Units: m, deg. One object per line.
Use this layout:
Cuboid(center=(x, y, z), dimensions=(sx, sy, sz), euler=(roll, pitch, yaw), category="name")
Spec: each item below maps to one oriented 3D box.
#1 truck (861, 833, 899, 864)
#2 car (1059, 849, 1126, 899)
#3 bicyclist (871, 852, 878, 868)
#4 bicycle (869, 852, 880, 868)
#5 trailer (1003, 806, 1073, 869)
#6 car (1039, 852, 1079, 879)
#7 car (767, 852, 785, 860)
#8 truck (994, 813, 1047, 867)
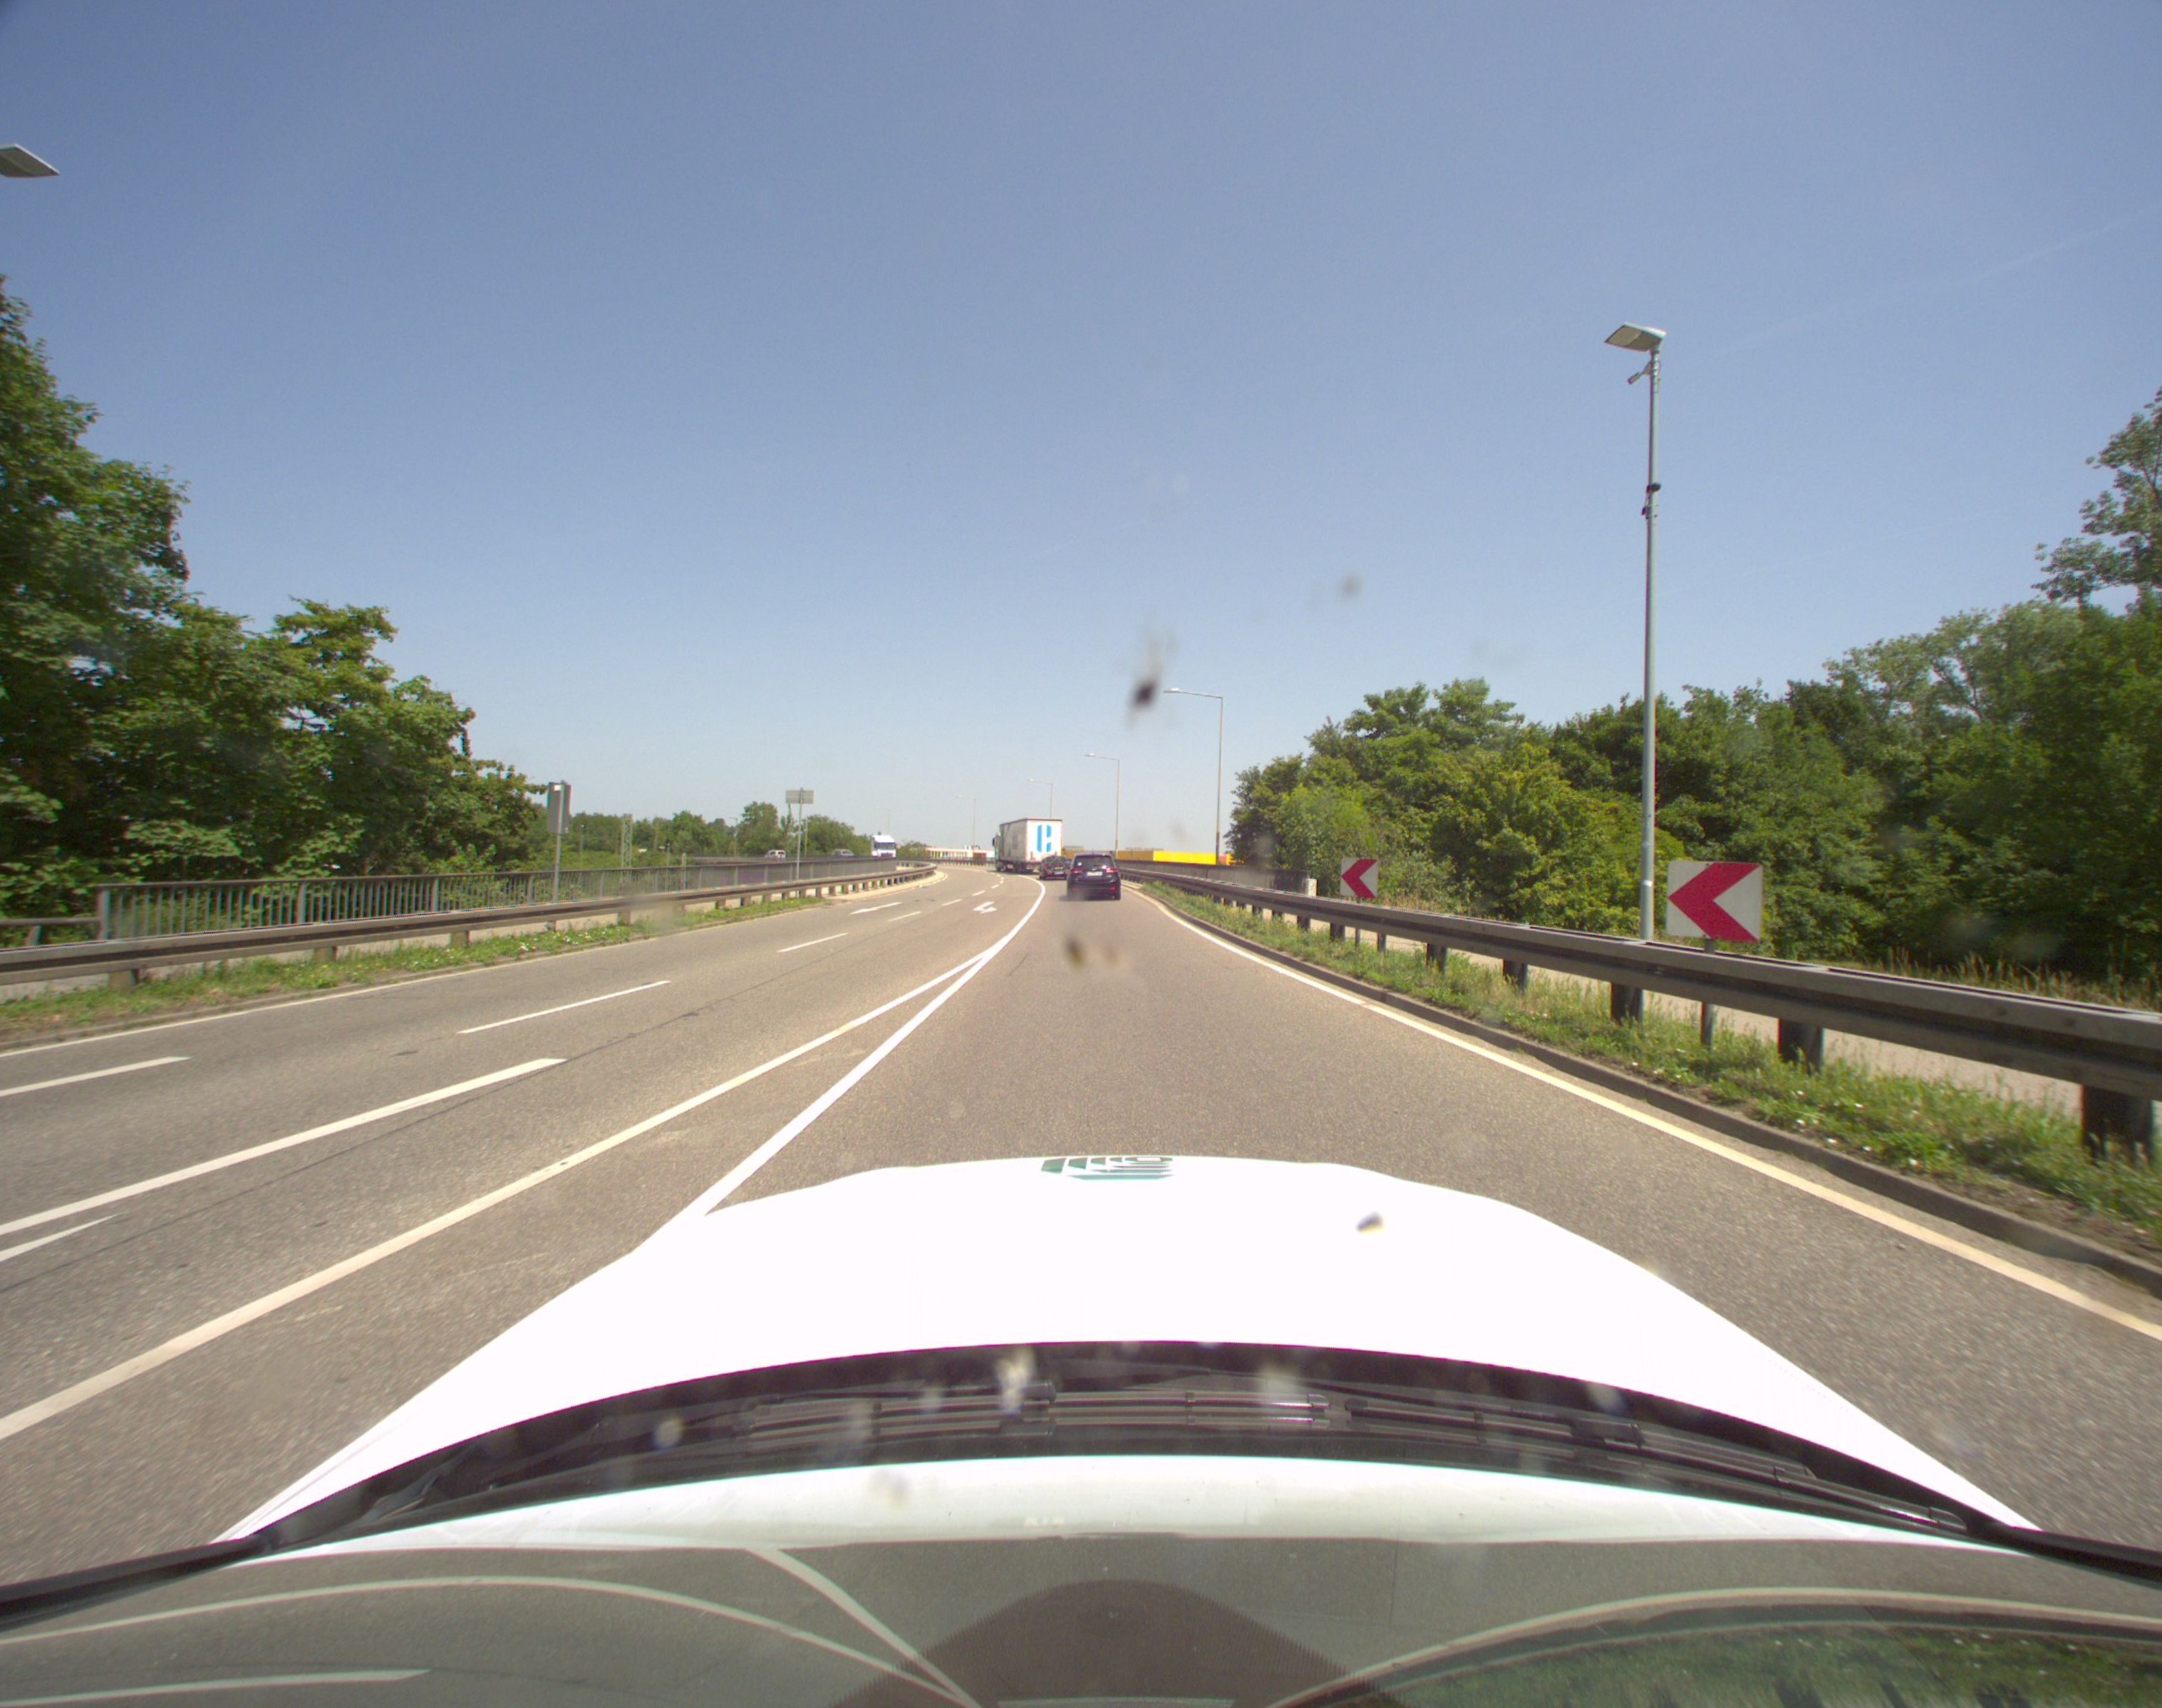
Cuboid(center=(-26.612, -0.785, 107.676), dimensions=(2.727, 3.991, 6.117), euler=(0, 0, -37), category="truck")
Cuboid(center=(0.318, 0.631, 27.953), dimensions=(1.918, 1.574, 3.885), euler=(0, 0, -5), category="car")
Cuboid(center=(-23.994, 0.719, 94.669), dimensions=(0.628, 1.886, 0.705), euler=(0, 0, -30), category="bicyclist")
Cuboid(center=(-23.944, 0.677, 94.575), dimensions=(0.702, 1.801, 2.161), euler=(0, 0, -28), category="bicycle")
Cuboid(center=(-3.507, -1.201, 62.438), dimensions=(3.572, 4.384, 11.393), euler=(0, 0, -12), category="trailer")
Cuboid(center=(-1.304, 0.645, 46.990), dimensions=(2.009, 1.429, 3.768), euler=(0, 0, -7), category="car")
Cuboid(center=(-54.097, 0.405, 144.558), dimensions=(3.570, 1.386, 1.573), euler=(1, 0, 43), category="car")
Cuboid(center=(-5.260, -1.161, 69.809), dimensions=(3.577, 4.440, 6.486), euler=(0, 0, -13), category="truck")
